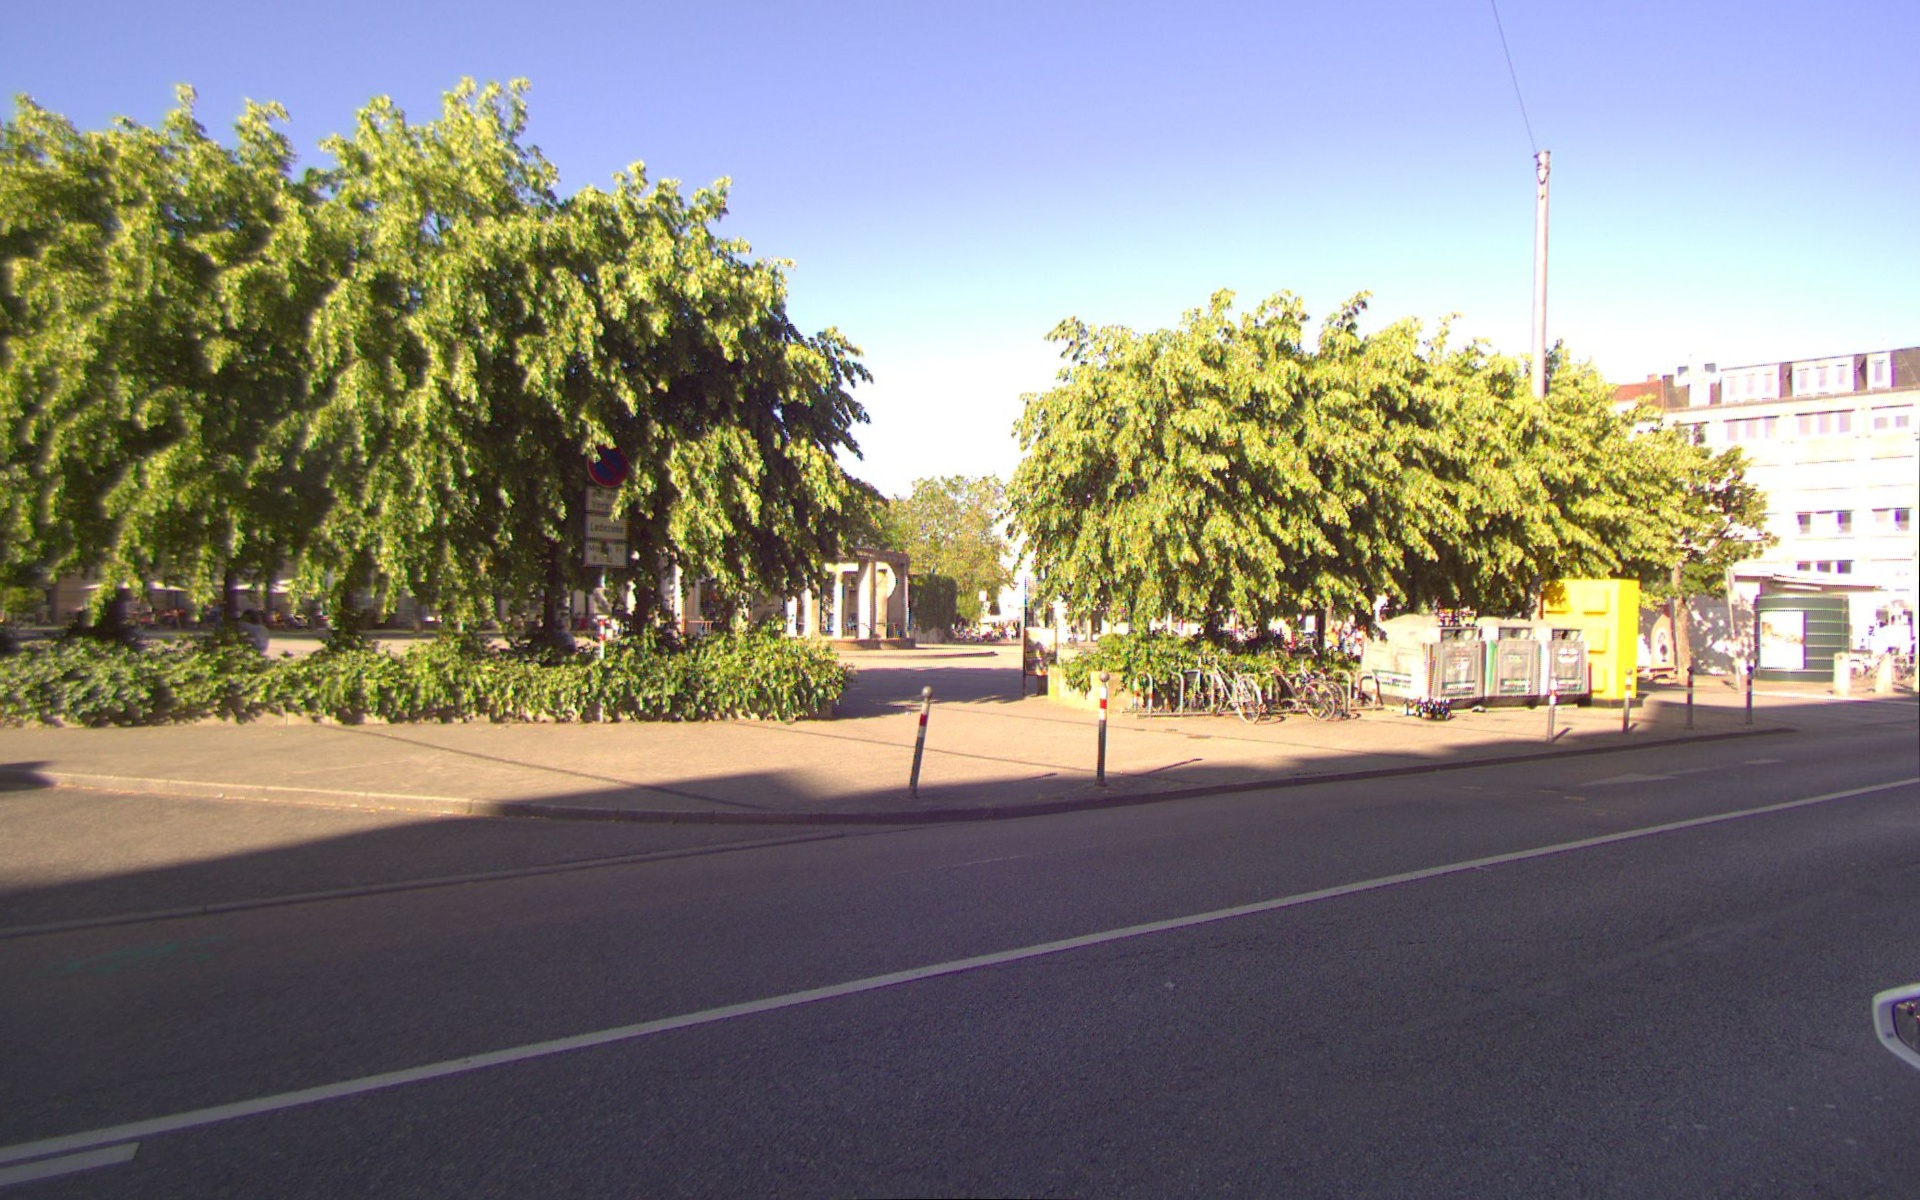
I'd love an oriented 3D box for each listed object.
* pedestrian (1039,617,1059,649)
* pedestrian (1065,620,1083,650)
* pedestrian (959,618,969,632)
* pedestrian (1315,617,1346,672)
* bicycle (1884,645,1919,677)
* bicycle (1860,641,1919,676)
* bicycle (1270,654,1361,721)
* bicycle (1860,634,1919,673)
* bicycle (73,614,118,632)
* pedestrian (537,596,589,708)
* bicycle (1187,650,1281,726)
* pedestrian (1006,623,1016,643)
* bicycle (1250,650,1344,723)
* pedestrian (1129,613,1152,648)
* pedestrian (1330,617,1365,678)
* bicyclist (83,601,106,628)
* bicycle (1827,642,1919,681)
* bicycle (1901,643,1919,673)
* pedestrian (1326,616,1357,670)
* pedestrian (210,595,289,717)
[{"bbox_3d":[5.790,2.171,65.560,0.893,2.040,0.985,1,0,-29],"label":"pedestrian"},{"bbox_3d":[8.106,2.474,71.363,0.888,2.040,1.400,1,0,-10],"label":"pedestrian"},{"bbox_3d":[0.511,3.641,144.362,1.230,1.936,1.237,1,0,-9],"label":"pedestrian"},{"bbox_3d":[13.954,1.659,37.829,0.886,2.040,0.993,1,0,7],"label":"pedestrian"},{"bbox_3d":[36.751,2.328,38.021,0.834,1.171,2.517,1,-1,-34],"label":"bicycle"},{"bbox_3d":[33.117,2.038,35.025,0.833,1.171,2.449,1,-1,-31],"label":"bicycle"},{"bbox_3d":[5.796,1.405,16.453,0.425,0.971,1.518,0,0,-28],"label":"bicycle"},{"bbox_3d":[34.477,1.944,36.514,0.913,1.341,2.461,1,-1,-35],"label":"bicycle"},{"bbox_3d":[-48.334,1.280,56.169,0.577,0.966,1.908,1,-1,14],"label":"bicycle"},{"bbox_3d":[-6.524,0.844,16.554,0.725,1.781,0.895,1,-1,-19],"label":"pedestrian"},{"bbox_3d":[4.213,1.326,15.539,0.425,1.031,1.590,1,0,-28],"label":"bicycle"},{"bbox_3d":[5.112,3.318,101.146,0.887,2.040,1.284,1,-1,-4],"label":"pedestrian"},{"bbox_3d":[5.382,1.359,16.122,0.425,1.036,1.561,1,-1,-28],"label":"bicycle"},{"bbox_3d":[10.806,1.826,60.181,0.890,2.040,1.280,1,-1,-18],"label":"pedestrian"},{"bbox_3d":[13.366,1.626,34.630,0.886,2.040,0.993,1,0,7],"label":"pedestrian"},{"bbox_3d":[-48.343,0.817,56.090,0.660,1.447,0.699,1,0,12],"label":"bicyclist"},{"bbox_3d":[30.994,2.060,33.917,0.833,1.171,2.493,1,-1,-31],"label":"bicycle"},{"bbox_3d":[38.675,2.316,39.500,0.834,1.171,2.308,1,-1,-34],"label":"bicycle"},{"bbox_3d":[14.679,1.634,38.665,0.886,2.040,0.993,1,0,7],"label":"pedestrian"},{"bbox_3d":[-10.756,0.834,15.230,0.725,1.781,0.895,1,-1,-19],"label":"pedestrian"}]
